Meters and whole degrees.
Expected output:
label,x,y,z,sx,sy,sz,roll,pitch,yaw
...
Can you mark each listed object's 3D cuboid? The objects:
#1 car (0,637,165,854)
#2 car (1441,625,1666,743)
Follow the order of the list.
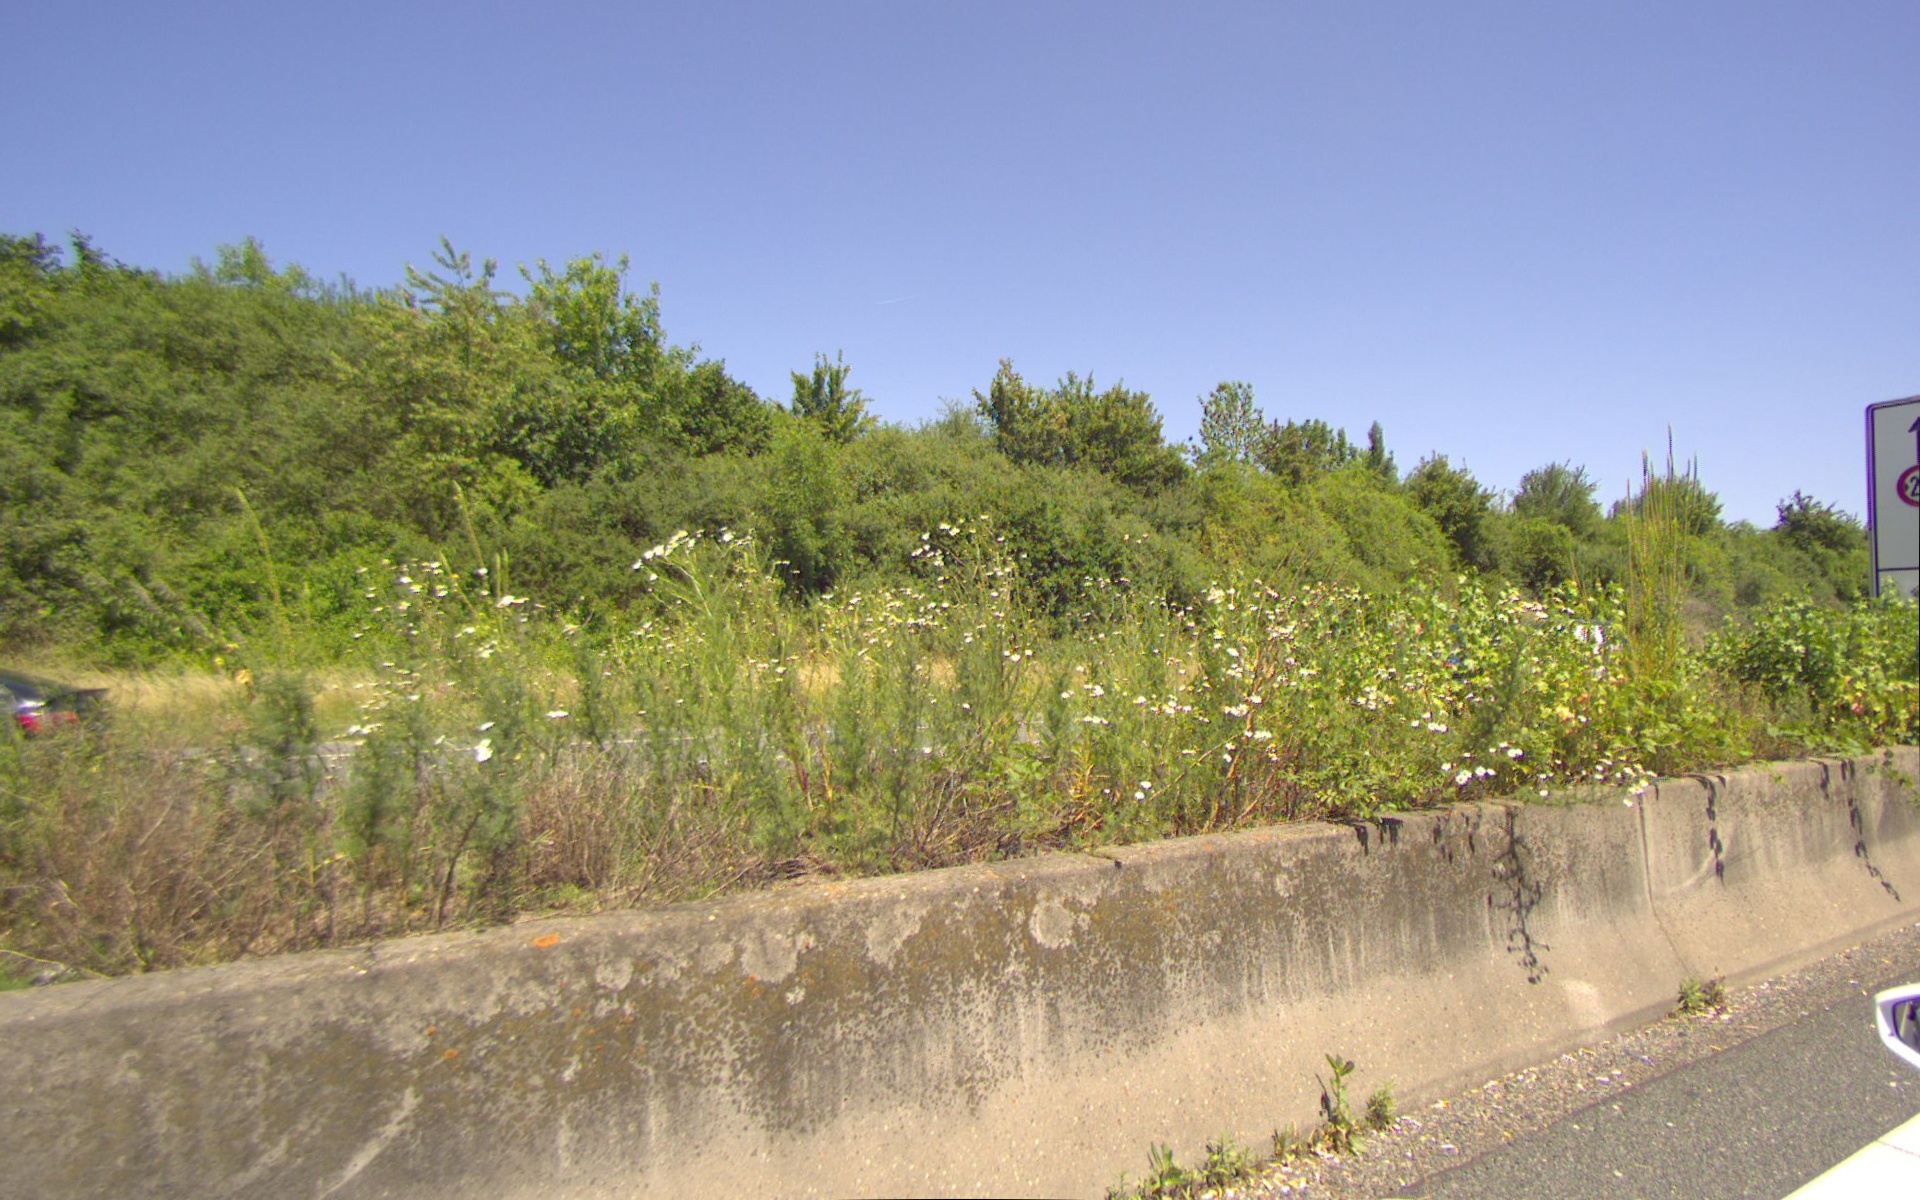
label,x,y,z,sx,sy,sz,roll,pitch,yaw
car,-8.563,1.059,7.420,3.953,1.507,1.733,2,0,-30
car,11.485,1.519,19.385,4.361,2.040,1.951,1,-2,-32
